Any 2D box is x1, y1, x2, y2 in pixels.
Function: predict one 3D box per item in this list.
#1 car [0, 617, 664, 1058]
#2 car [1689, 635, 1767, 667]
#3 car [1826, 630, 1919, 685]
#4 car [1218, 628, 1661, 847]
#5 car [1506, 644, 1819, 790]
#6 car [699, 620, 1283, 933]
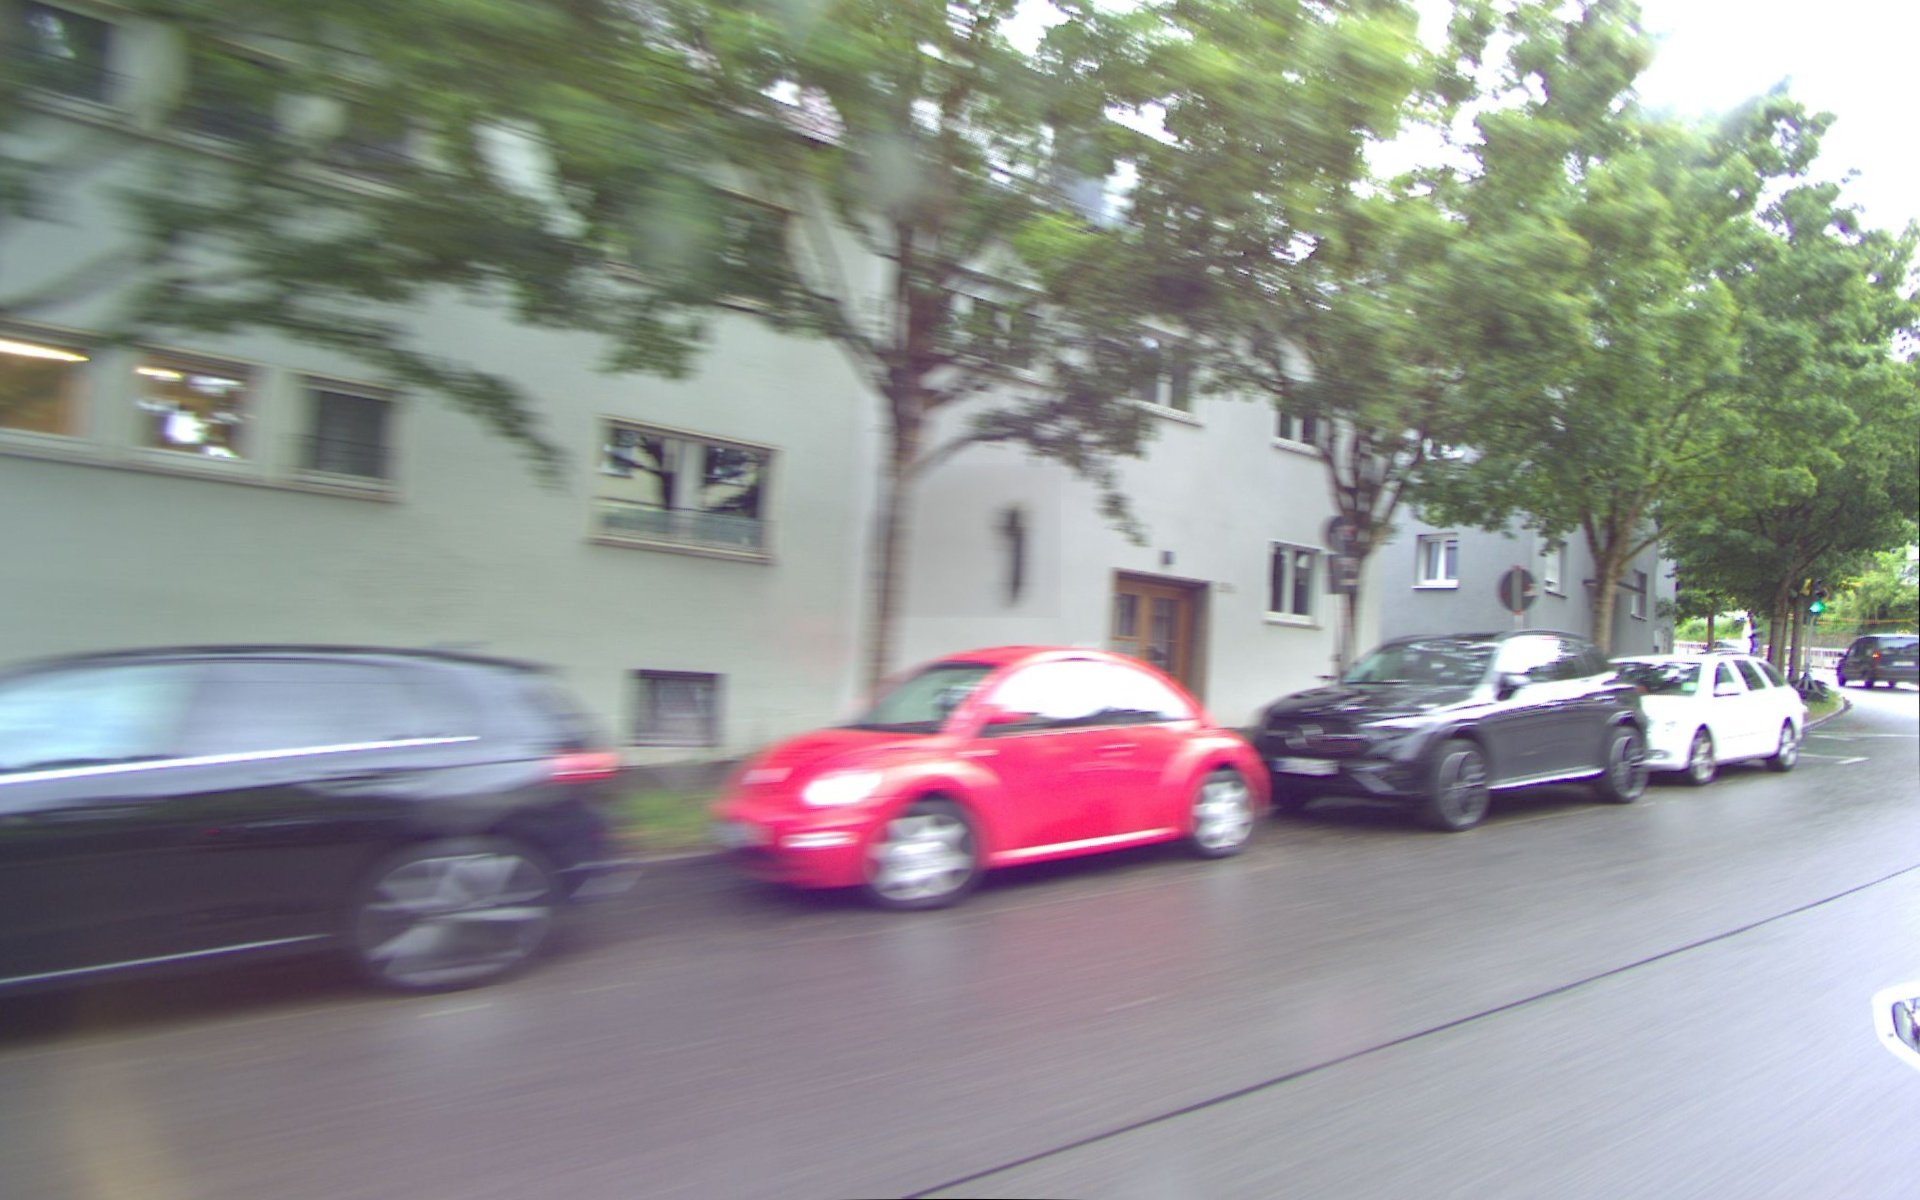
[{"bbox_3d":[-3.489,0.890,4.261,4.048,1.507,1.550,3,-6,-29],"label":"car"},{"bbox_3d":[37.557,2.497,49.204,1.692,1.505,4.078,-1,-3,17],"label":"car"},{"bbox_3d":[31.866,1.980,34.757,1.963,1.817,3.995,-1,-3,27],"label":"car"},{"bbox_3d":[4.643,1.126,9.486,4.528,1.629,1.672,2,-4,-34],"label":"car"},{"bbox_3d":[8.797,1.348,12.486,4.270,1.528,1.673,1,-5,-33],"label":"car"},{"bbox_3d":[0.334,1.059,6.920,3.811,1.584,1.623,4,-7,-35],"label":"car"}]
